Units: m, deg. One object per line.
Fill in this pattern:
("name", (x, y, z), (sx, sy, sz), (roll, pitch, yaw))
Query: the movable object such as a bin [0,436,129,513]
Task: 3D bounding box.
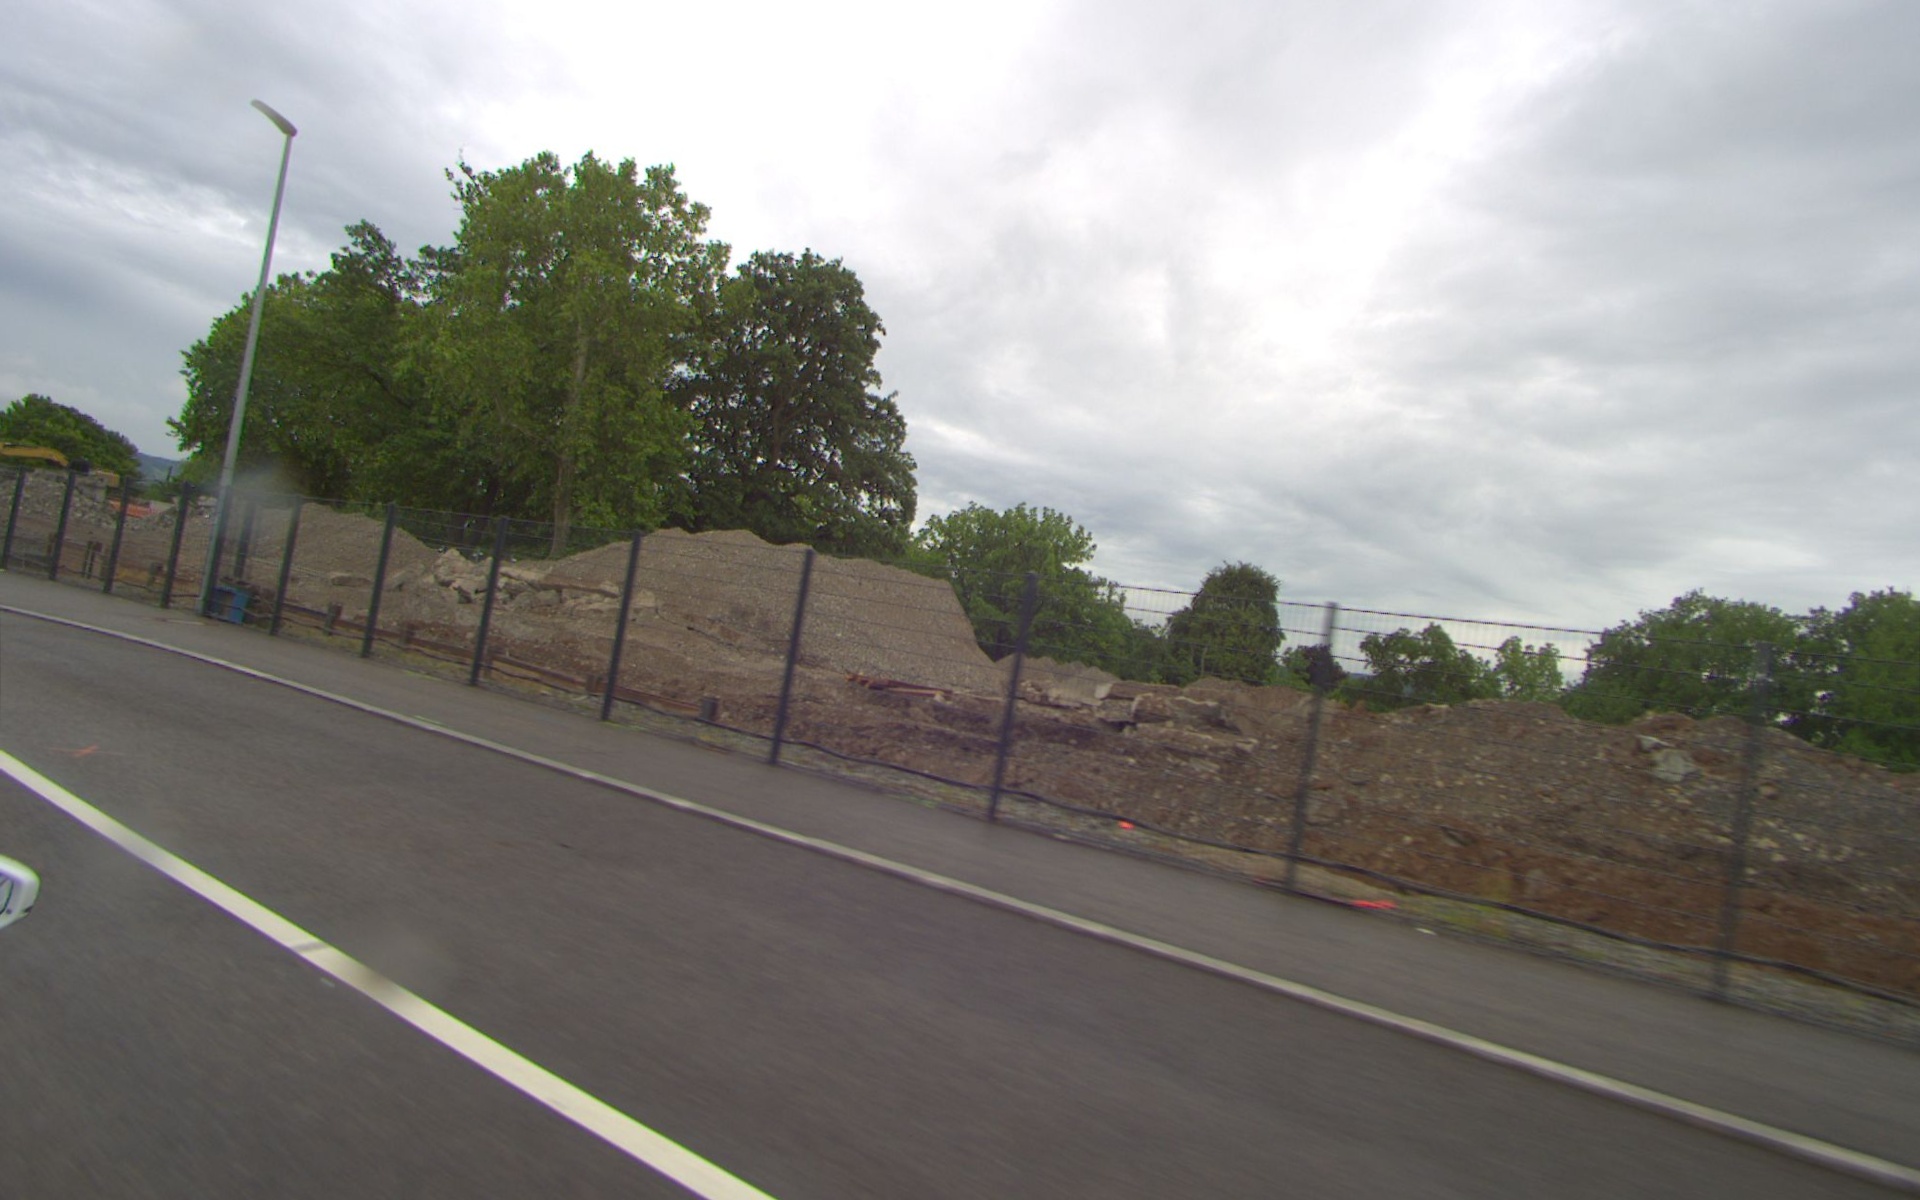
("movable object such as a bin", (-97.876, -13.480, 108.945), (3.439, 6.063, 11.237), (6, -3, 38))
